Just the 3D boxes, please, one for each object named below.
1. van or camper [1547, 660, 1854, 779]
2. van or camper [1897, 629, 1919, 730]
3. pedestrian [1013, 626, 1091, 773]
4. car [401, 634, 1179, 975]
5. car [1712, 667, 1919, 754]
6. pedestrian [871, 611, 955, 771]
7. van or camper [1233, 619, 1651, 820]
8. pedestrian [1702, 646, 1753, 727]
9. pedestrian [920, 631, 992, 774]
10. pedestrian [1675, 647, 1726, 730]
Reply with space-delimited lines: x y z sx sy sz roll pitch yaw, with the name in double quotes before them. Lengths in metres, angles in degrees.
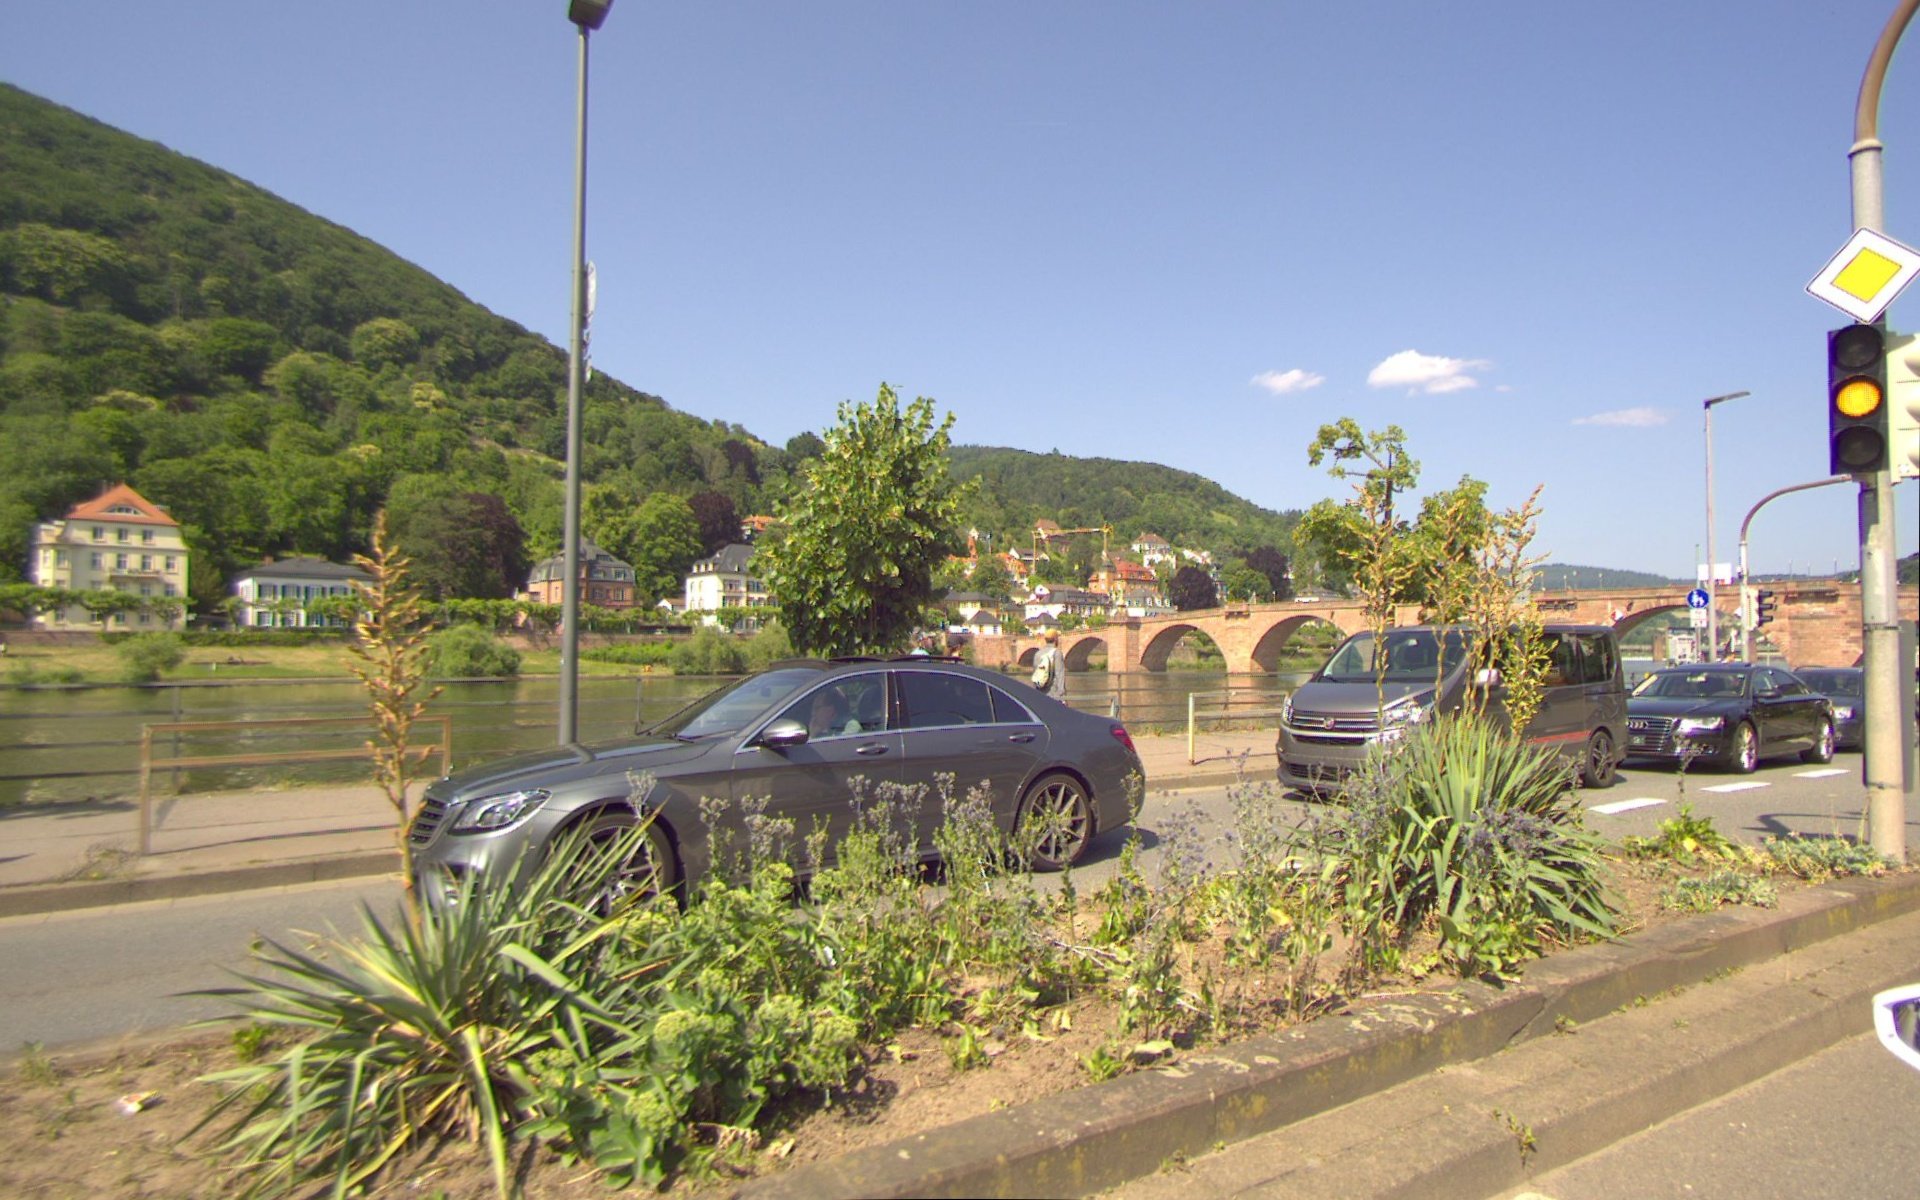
"van or camper" 11.085 1.670 14.935 5.010 1.495 1.983 2 -5 -33
"van or camper" 26.199 2.010 25.572 5.434 2.481 1.984 3 -5 -32
"pedestrian" 1.231 1.302 13.516 0.690 1.882 0.755 2 -1 -39
"car" -0.940 1.142 7.148 5.108 1.618 1.981 2 -6 -36
"car" 16.251 2.005 18.812 4.520 1.426 1.942 2 -6 -33
"pedestrian" -0.580 1.091 12.372 0.690 1.882 0.755 2 -1 -39
"van or camper" 5.729 1.261 11.733 5.123 1.897 1.983 2 -4 -33
"pedestrian" 18.005 2.005 23.556 0.758 1.804 0.688 2 2 -40
"pedestrian" -0.051 1.191 11.900 0.635 1.622 0.537 2 -1 -36
"pedestrian" 17.072 2.025 23.161 0.758 1.804 0.688 2 2 -40
